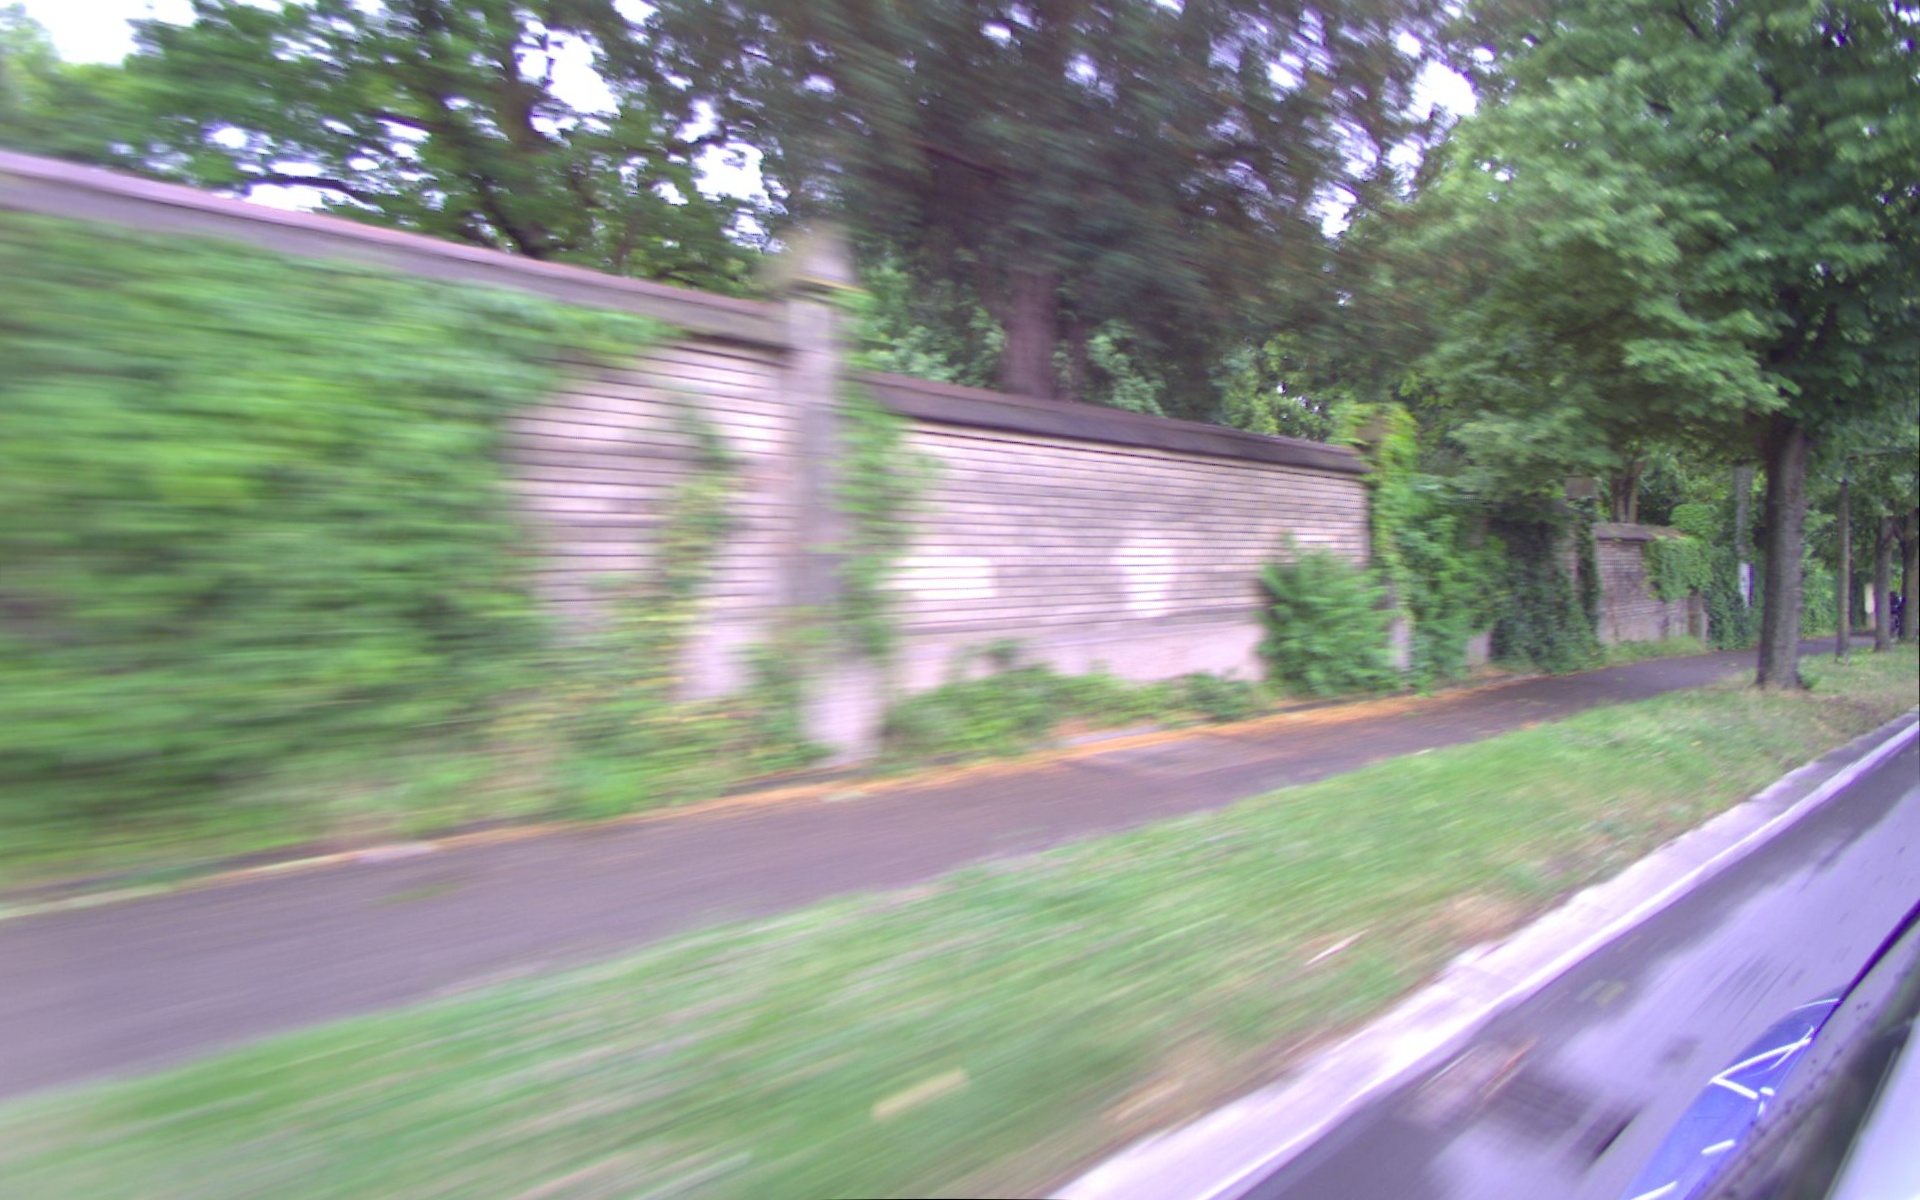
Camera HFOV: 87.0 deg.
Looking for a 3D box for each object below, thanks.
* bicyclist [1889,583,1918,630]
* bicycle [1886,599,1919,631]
[{"bbox_3d":[36.353,0.249,38.990,0.879,1.748,0.692,1,1,-40],"label":"bicyclist"},{"bbox_3d":[36.351,0.580,39.008,2.068,1.164,0.709,1,1,-41],"label":"bicycle"}]
